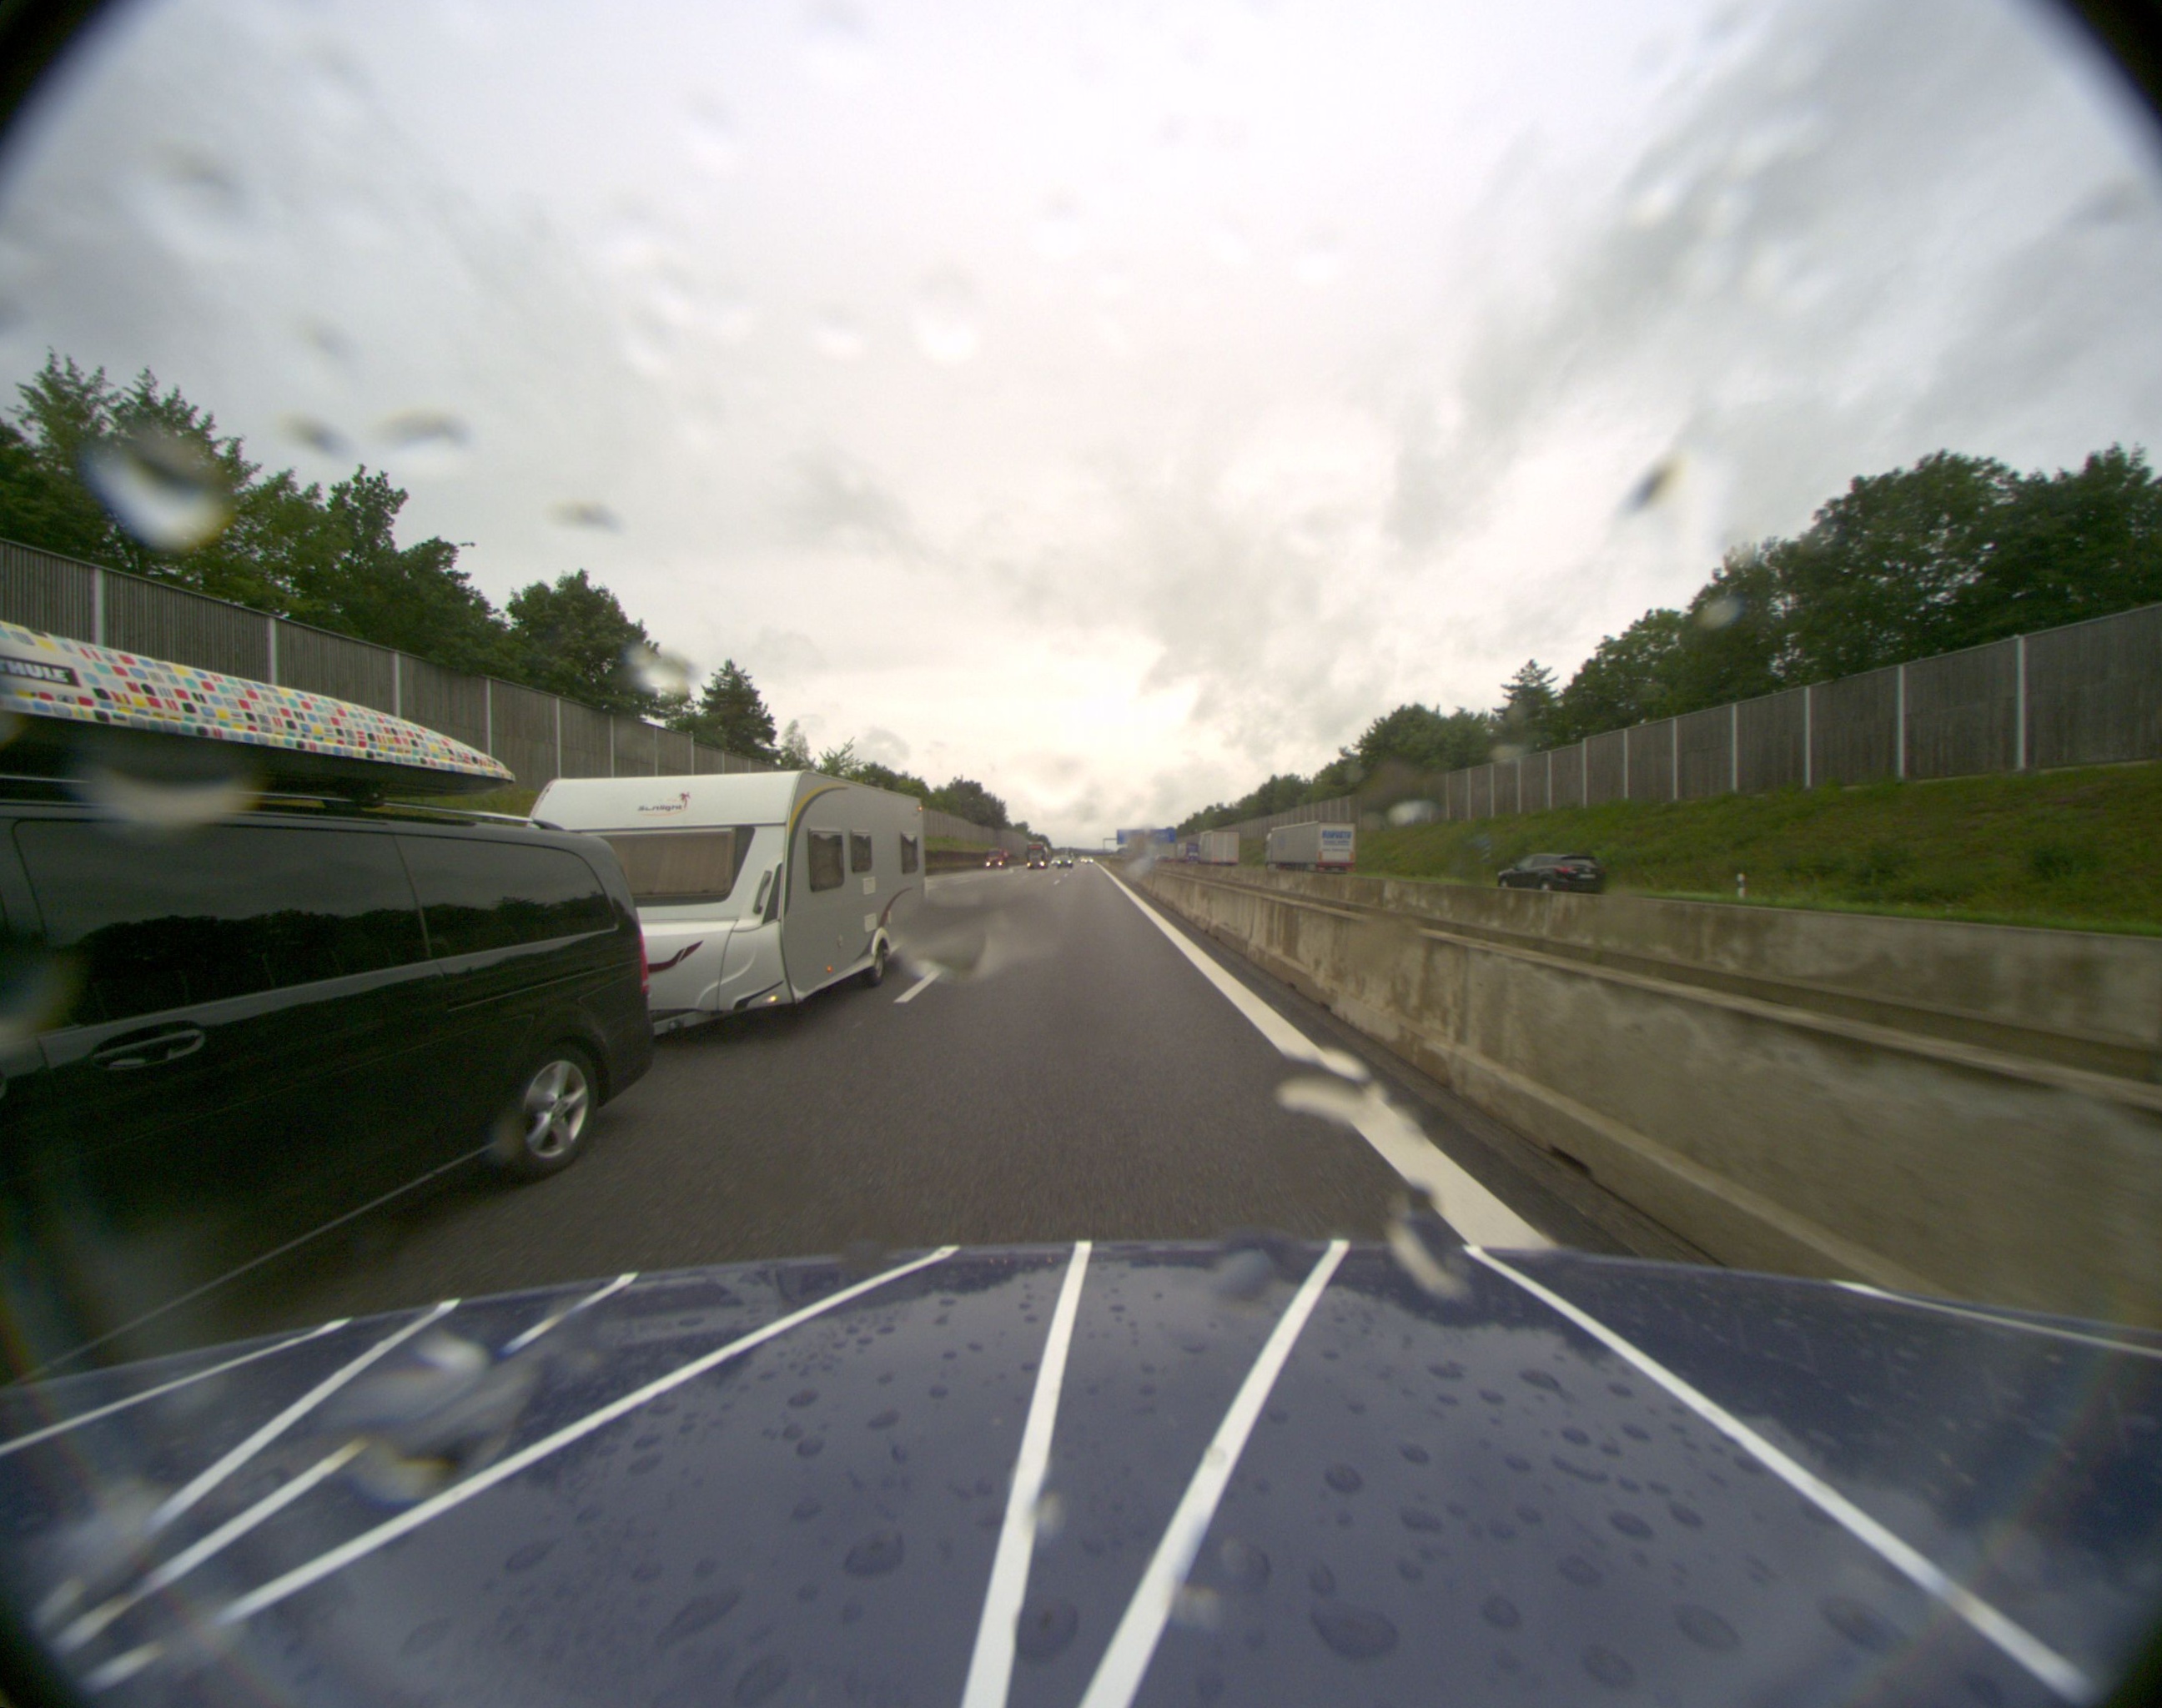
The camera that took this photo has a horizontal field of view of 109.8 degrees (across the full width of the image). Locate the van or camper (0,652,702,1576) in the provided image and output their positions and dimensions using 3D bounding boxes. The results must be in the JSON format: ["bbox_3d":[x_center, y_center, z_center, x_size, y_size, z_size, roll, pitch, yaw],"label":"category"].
[{"bbox_3d":[-3.598,0.649,2.321,1.895,2.256,5.679,-2,1,1],"label":"van or camper"}]

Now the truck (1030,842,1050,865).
[{"bbox_3d":[-5.954,-0.096,111.802,2.617,3.218,4.632,-1,0,1],"label":"truck"}]

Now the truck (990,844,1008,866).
[{"bbox_3d":[-13.252,0.143,122.367,2.421,3.445,3.999,-1,0,0],"label":"truck"}]

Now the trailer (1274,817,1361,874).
[{"bbox_3d":[17.804,-0.610,58.268,2.911,3.913,12.443,-1,0,1],"label":"trailer"}]

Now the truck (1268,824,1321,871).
[{"bbox_3d":[17.930,-0.560,64.284,2.896,3.774,5.889,-1,0,1],"label":"truck"}]

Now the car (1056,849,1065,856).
[{"bbox_3d":[-4.794,-0.358,179.842,1.998,1.747,4.000,-2,0,1],"label":"car"}]

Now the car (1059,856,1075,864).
[{"bbox_3d":[-1.947,0.793,107.002,2.061,1.020,3.438,-3,1,1],"label":"car"}]

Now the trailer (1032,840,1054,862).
[{"bbox_3d":[-5.848,-0.402,118.723,2.600,3.228,9.915,-1,0,1],"label":"trailer"}]

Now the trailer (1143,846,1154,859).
[{"bbox_3d":[21.058,-0.587,236.965,2.718,3.901,10.644,2,1,1],"label":"trailer"}]

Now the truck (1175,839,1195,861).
[{"bbox_3d":[20.432,-0.810,148.944,3.097,4.300,6.097,-1,1,1],"label":"truck"}]

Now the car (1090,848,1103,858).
[{"bbox_3d":[3.545,-0.231,173.962,2.680,2.340,5.807,-1,0,-1],"label":"car"}]

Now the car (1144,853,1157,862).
[{"bbox_3d":[12.375,0.588,136.369,1.977,1.679,4.357,-1,0,1],"label":"car"}]

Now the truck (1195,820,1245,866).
[{"bbox_3d":[14.499,-1.140,80.494,3.159,4.300,12.679,-3,1,1],"label":"truck"}]

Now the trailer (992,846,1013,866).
[{"bbox_3d":[-13.144,0.243,128.228,2.452,3.228,9.400,-1,0,0],"label":"trailer"}]

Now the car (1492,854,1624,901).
[{"bbox_3d":[17.156,0.789,27.621,1.998,1.528,4.481,1,0,1],"label":"car"}]

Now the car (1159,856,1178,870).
[{"bbox_3d":[11.561,1.147,100.431,1.998,1.726,5.002,-1,0,1],"label":"car"}]

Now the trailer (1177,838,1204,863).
[{"bbox_3d":[20.353,-0.729,142.194,3.097,4.300,14.337,-1,1,1],"label":"trailer"}]

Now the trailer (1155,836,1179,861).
[{"bbox_3d":[15.657,-0.986,139.386,2.786,4.300,14.022,-3,1,1],"label":"trailer"}]

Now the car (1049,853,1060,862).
[{"bbox_3d":[-5.191,0.647,150.960,1.916,1.630,3.999,-3,1,1],"label":"car"}]

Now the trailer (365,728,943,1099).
[{"bbox_3d":[-3.746,0.425,9.221,2.728,2.627,7.511,-1,0,0],"label":"trailer"}]
